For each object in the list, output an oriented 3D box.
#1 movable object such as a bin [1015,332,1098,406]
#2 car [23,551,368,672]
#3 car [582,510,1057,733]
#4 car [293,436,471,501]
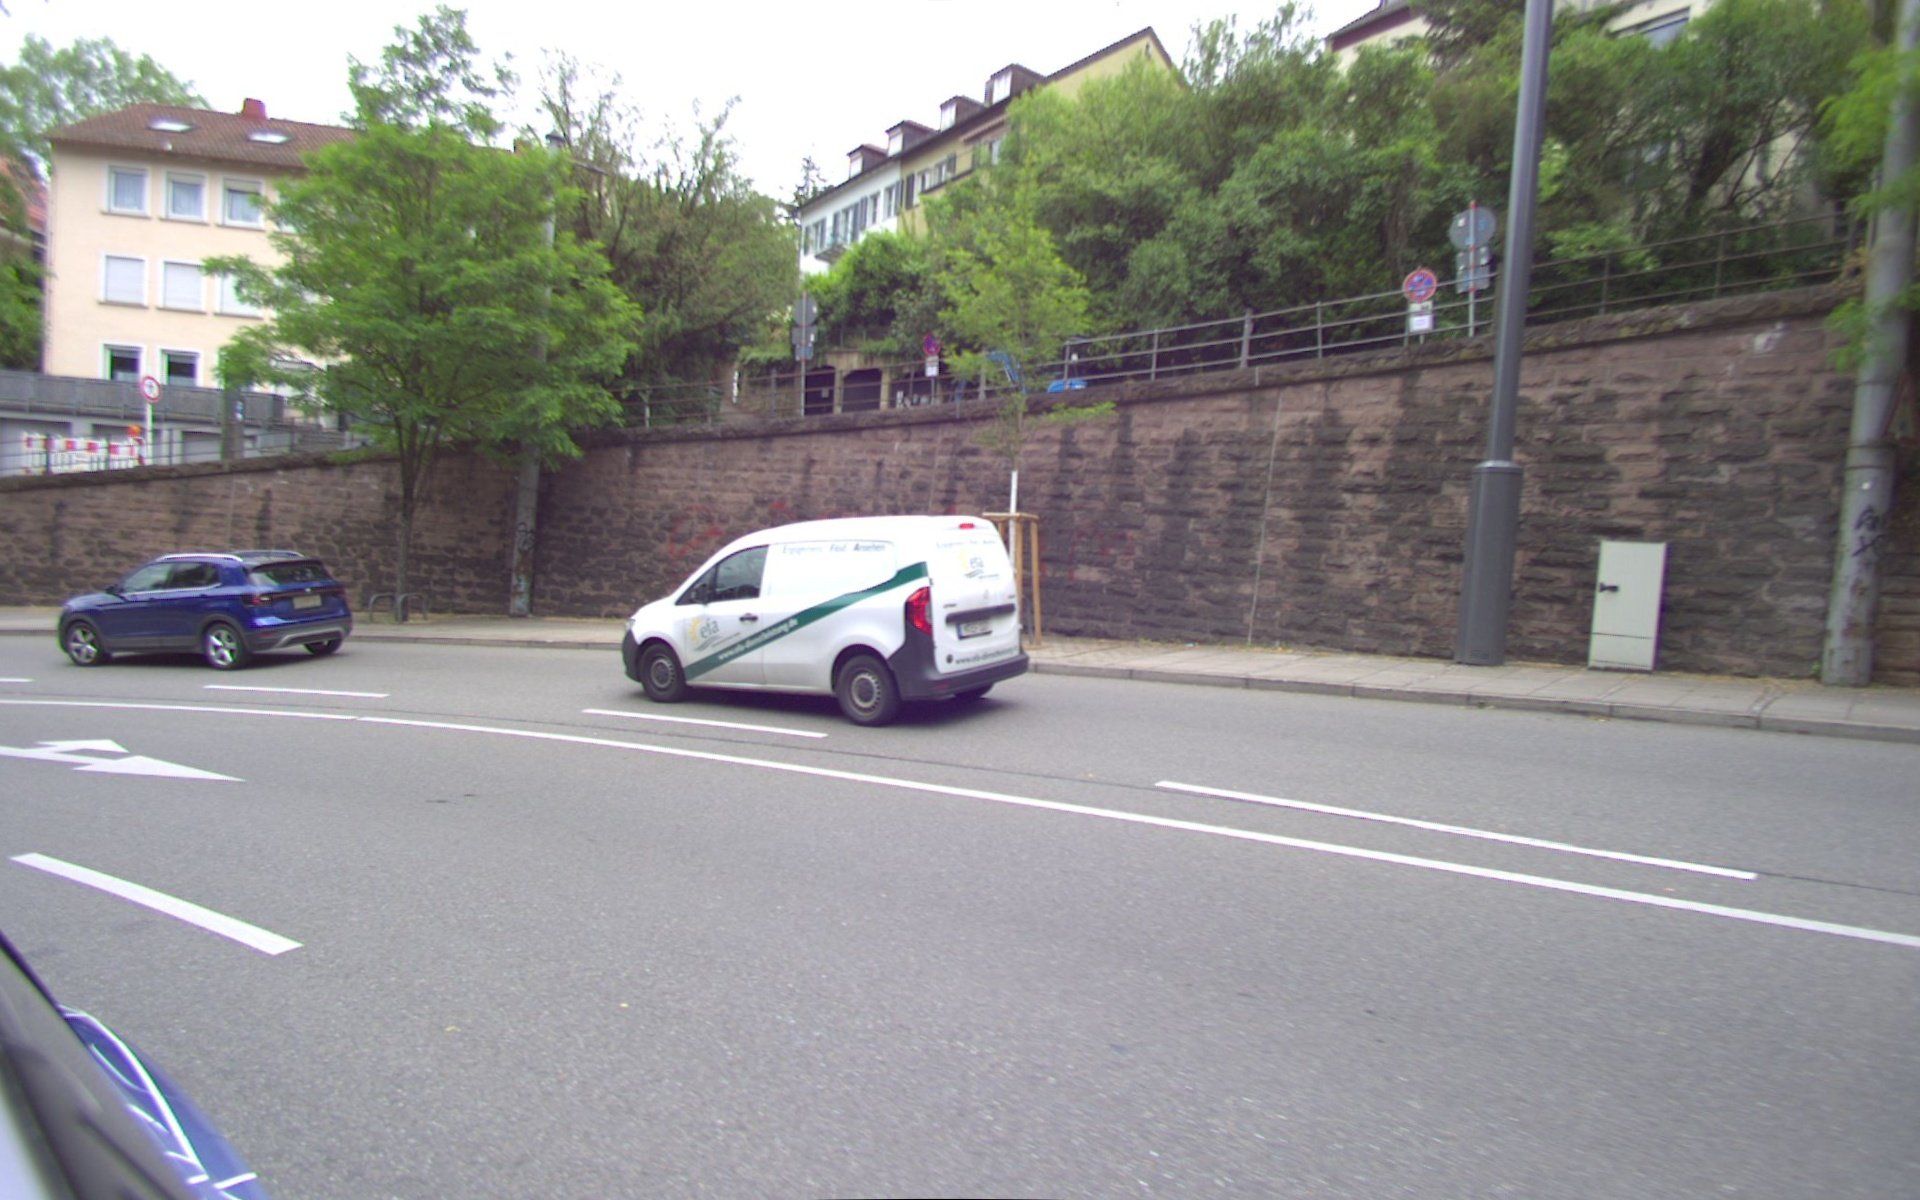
[{"bbox_3d":[2.292,-5.415,23.885,1.598,1.366,1.241,0,2,29],"label":"movable object such as a bin"},{"bbox_3d":[-11.035,0.107,14.687,4.162,1.538,1.724,0,5,15],"label":"car"},{"bbox_3d":[-1.521,0.088,10.137,4.658,1.776,1.807,1,5,34],"label":"car"},{"bbox_3d":[-16.110,-3.647,28.331,4.011,1.652,1.773,1,4,3],"label":"car"}]
